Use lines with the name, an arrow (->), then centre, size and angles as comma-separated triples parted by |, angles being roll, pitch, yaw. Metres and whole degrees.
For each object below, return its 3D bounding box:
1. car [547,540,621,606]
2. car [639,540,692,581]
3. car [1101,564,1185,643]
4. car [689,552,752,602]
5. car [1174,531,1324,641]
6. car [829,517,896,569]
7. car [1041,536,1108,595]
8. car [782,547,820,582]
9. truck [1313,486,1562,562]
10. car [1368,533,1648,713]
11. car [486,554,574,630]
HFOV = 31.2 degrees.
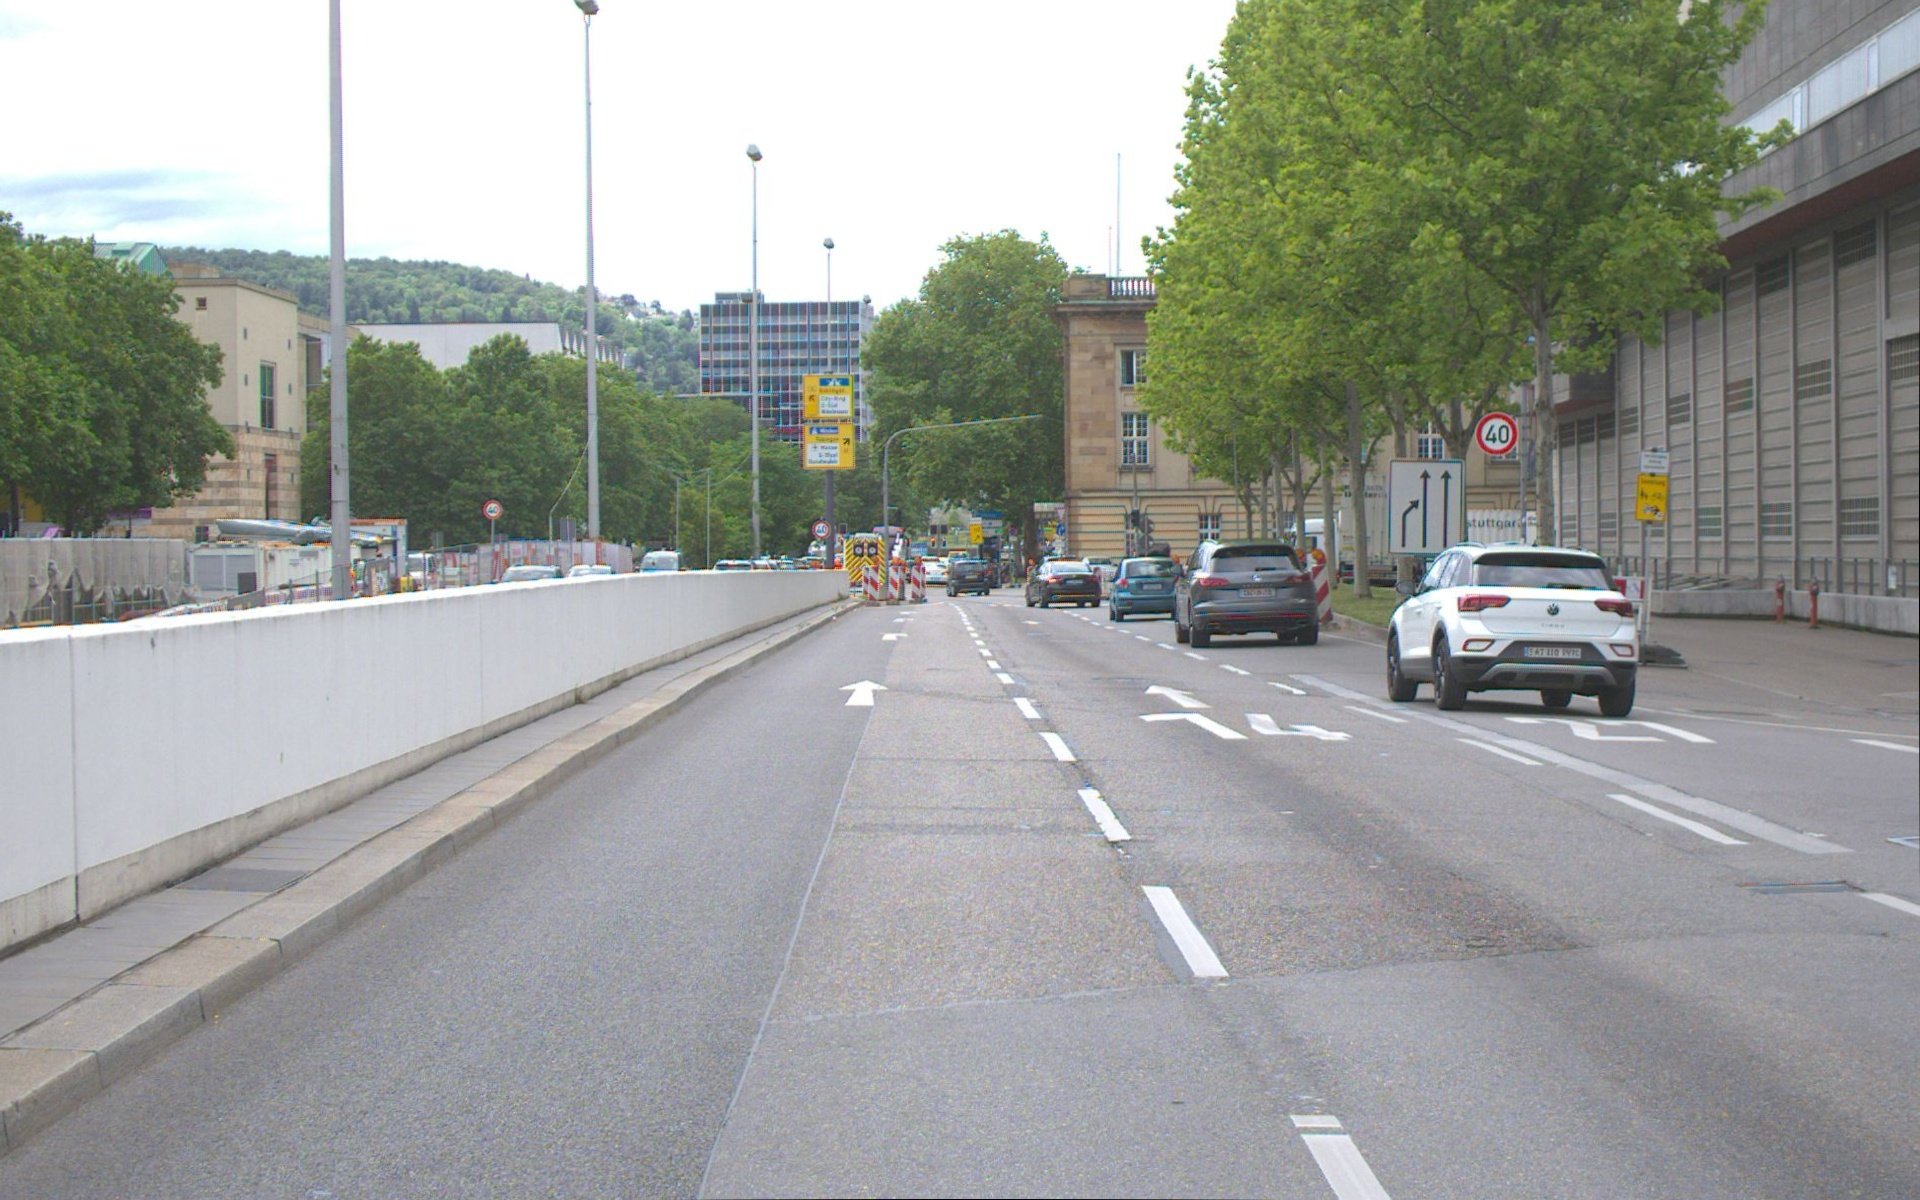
car -> -12.293, -0.911, 112.497 | 1.993, 2.006, 4.001 | -1, 2, 0
car -> -11.920, -1.612, 139.379 | 1.750, 1.562, 3.377 | -3, 1, 1
car -> 4.313, 0.054, 80.560 | 1.823, 1.734, 4.479 | -1, 1, 5
car -> -8.045, -0.776, 115.683 | 1.750, 1.562, 3.377 | -3, 1, 1
car -> 4.520, -0.260, 54.368 | 1.823, 1.562, 4.481 | 0, 3, -2
car -> -4.629, -2.720, 164.013 | 2.582, 2.366, 5.526 | -1, 1, 4
car -> 3.549, -1.081, 105.835 | 1.823, 1.734, 4.479 | -1, 1, 5
car -> -7.333, -1.630, 158.299 | 1.750, 1.562, 4.332 | 0, 0, -3
truck -> 19.958, -3.171, 144.022 | 10.029, 3.040, 2.569 | -1, 0, 1
car -> 5.151, 0.182, 32.865 | 1.750, 1.562, 4.332 | 1, 1, -3
car -> -12.215, -0.256, 97.878 | 1.993, 2.006, 4.001 | -1, 2, 0
